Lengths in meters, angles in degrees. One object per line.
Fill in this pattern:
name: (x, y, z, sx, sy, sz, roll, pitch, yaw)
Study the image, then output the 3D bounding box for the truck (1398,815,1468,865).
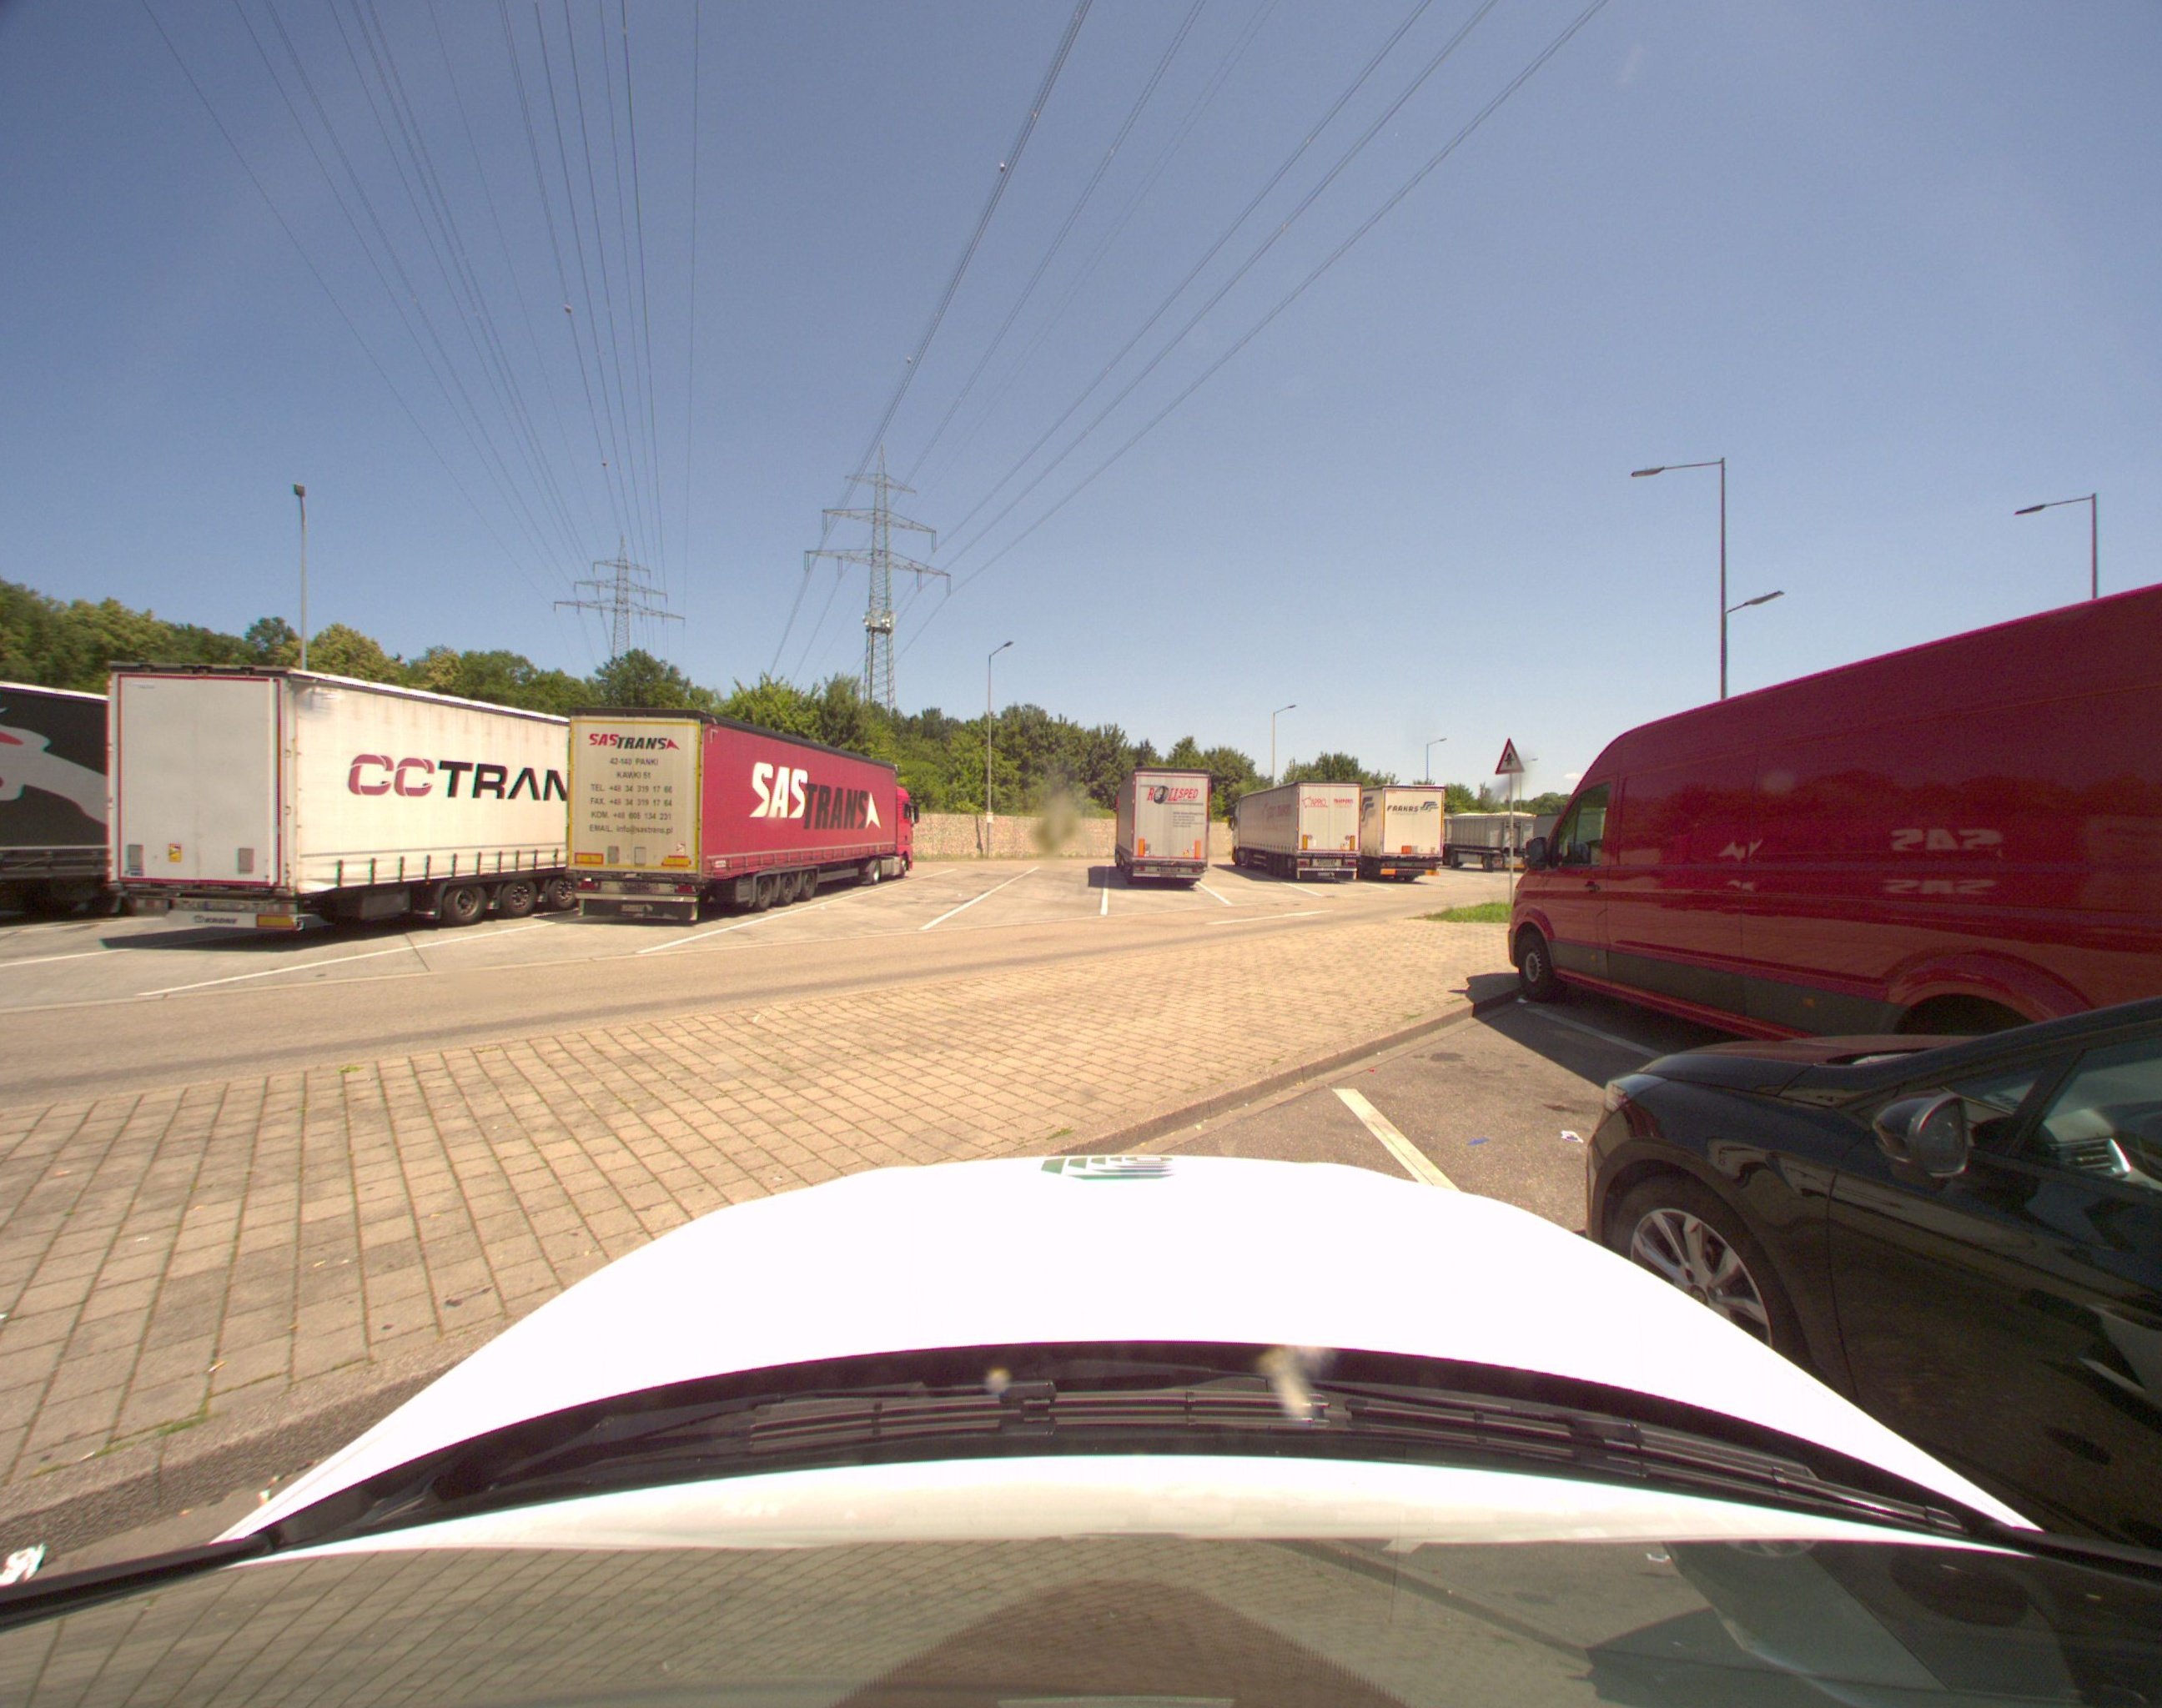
truck: (24.921, -1.024, 57.952, 2.840, 3.364, 5.488, 1, 1, 3)

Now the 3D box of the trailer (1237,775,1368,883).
trailer: (9.955, -1.163, 38.624, 2.828, 4.132, 13.730, 1, 2, 2)

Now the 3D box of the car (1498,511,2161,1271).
car: (5.161, 0.082, 5.490, 2.055, 2.695, 6.405, -1, 1, 6)

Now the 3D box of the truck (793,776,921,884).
truck: (-7.801, -0.841, 29.094, 2.841, 3.427, 5.486, 1, 1, 2)

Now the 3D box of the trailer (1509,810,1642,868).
trailer: (38.374, -1.254, 64.137, 2.826, 4.049, 13.737, 1, 2, 3)

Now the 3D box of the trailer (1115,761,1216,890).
trailer: (3.024, -1.110, 33.297, 2.896, 4.132, 13.727, 1, 2, 1)

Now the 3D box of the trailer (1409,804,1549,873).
trailer: (24.531, -1.014, 51.454, 2.826, 3.717, 13.737, 1, 2, 3)

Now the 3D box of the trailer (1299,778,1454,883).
trailer: (13.611, -1.131, 39.287, 2.828, 4.132, 13.730, 1, 2, 2)

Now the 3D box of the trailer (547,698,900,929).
trailer: (-8.039, -0.958, 21.658, 2.896, 4.131, 13.731, 1, 2, 2)

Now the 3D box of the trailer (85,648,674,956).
trailer: (-12.205, -0.893, 16.329, 2.718, 4.209, 10.175, 1, 2, 2)

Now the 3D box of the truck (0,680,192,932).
truck: (-18.580, -0.804, 13.564, 2.692, 4.016, 4.326, 1, 2, 2)

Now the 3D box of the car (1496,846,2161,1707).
car: (2.518, 0.750, 1.180, 1.733, 1.482, 3.813, -1, 1, -3)

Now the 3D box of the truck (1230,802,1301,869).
truck: (10.163, -1.039, 45.435, 2.841, 3.483, 5.486, 1, 1, 2)

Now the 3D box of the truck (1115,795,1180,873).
truck: (3.168, -0.997, 39.910, 2.841, 3.483, 5.486, 1, 1, 2)
